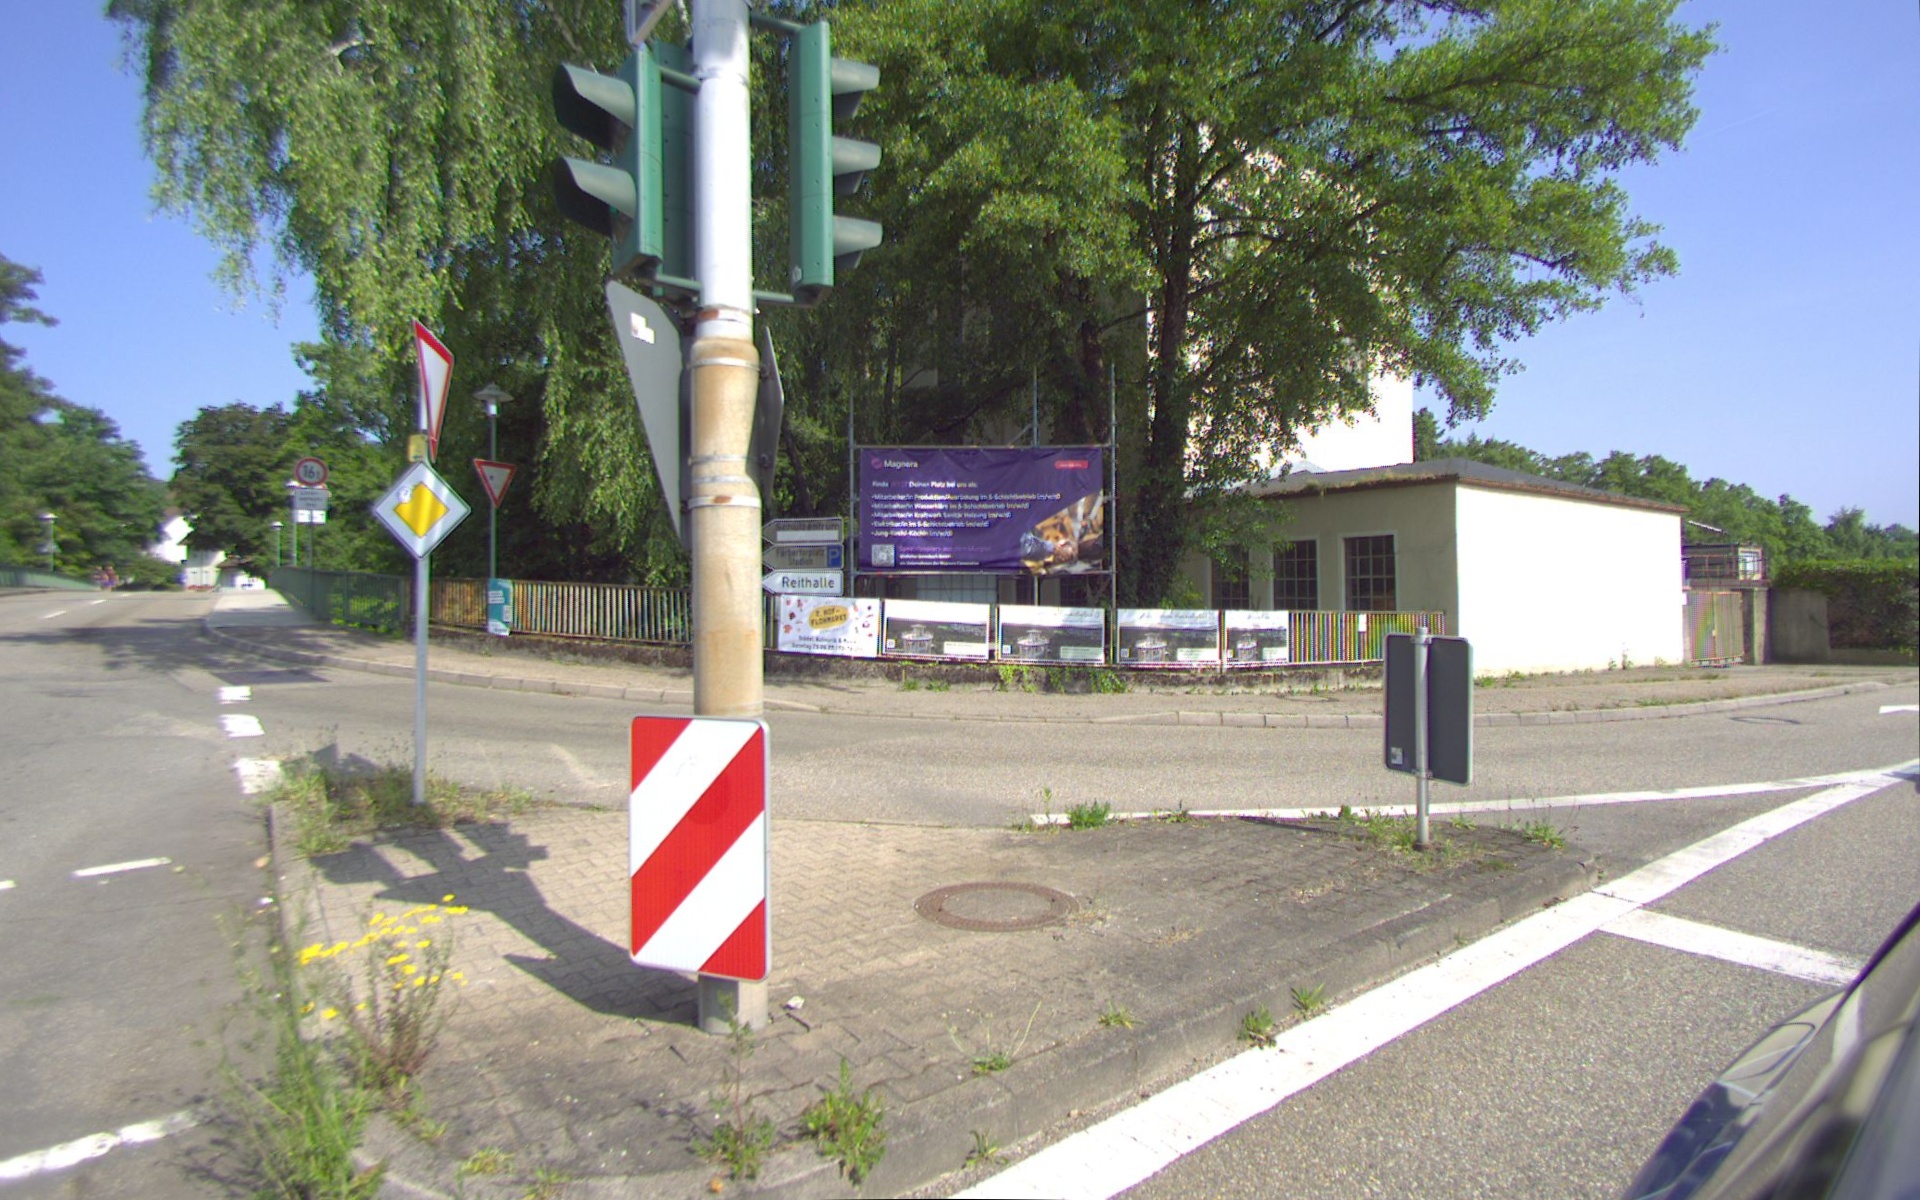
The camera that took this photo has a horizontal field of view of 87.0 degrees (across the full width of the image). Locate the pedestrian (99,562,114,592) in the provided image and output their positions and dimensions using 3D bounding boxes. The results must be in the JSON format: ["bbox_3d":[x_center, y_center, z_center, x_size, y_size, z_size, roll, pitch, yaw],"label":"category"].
[{"bbox_3d":[-56.020,-1.490,66.417,0.725,1.927,0.628,0,0,-41],"label":"pedestrian"}]

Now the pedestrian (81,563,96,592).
[{"bbox_3d":[-56.707,-1.453,65.829,0.725,1.911,0.628,0,0,-41],"label":"pedestrian"}]
